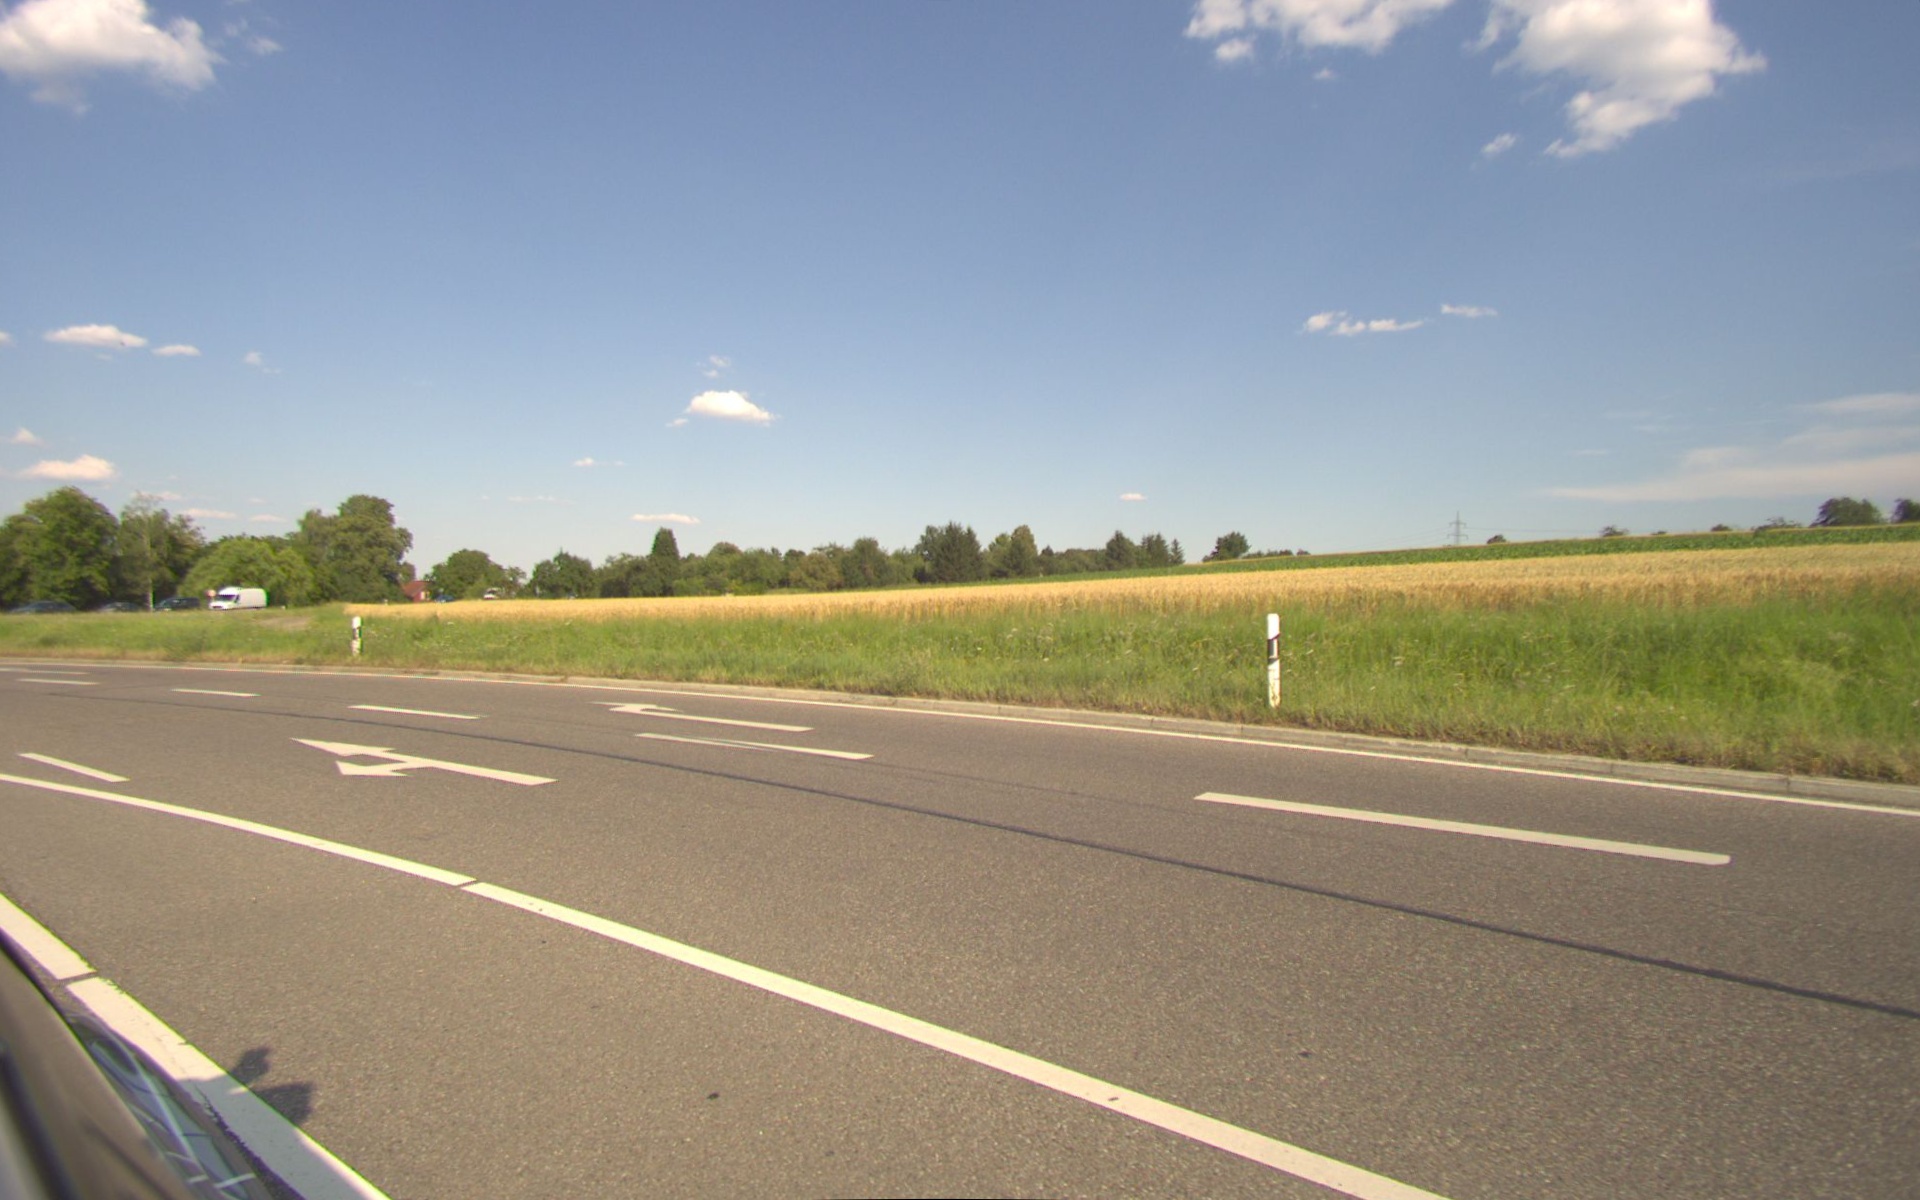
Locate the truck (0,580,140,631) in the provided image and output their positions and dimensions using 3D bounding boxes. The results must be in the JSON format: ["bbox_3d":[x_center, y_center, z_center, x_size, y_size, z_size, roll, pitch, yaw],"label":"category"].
[{"bbox_3d":[-72.837,0.380,82.467,2.492,3.802,12.913,-1,0,-5],"label":"truck"}]

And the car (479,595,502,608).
[{"bbox_3d":[-79.293,0.221,170.839,1.971,2.028,4.002,-3,2,-2],"label":"car"}]

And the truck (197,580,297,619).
[{"bbox_3d":[-75.221,-0.084,107.224,2.492,3.802,12.913,-1,0,-5],"label":"truck"}]
